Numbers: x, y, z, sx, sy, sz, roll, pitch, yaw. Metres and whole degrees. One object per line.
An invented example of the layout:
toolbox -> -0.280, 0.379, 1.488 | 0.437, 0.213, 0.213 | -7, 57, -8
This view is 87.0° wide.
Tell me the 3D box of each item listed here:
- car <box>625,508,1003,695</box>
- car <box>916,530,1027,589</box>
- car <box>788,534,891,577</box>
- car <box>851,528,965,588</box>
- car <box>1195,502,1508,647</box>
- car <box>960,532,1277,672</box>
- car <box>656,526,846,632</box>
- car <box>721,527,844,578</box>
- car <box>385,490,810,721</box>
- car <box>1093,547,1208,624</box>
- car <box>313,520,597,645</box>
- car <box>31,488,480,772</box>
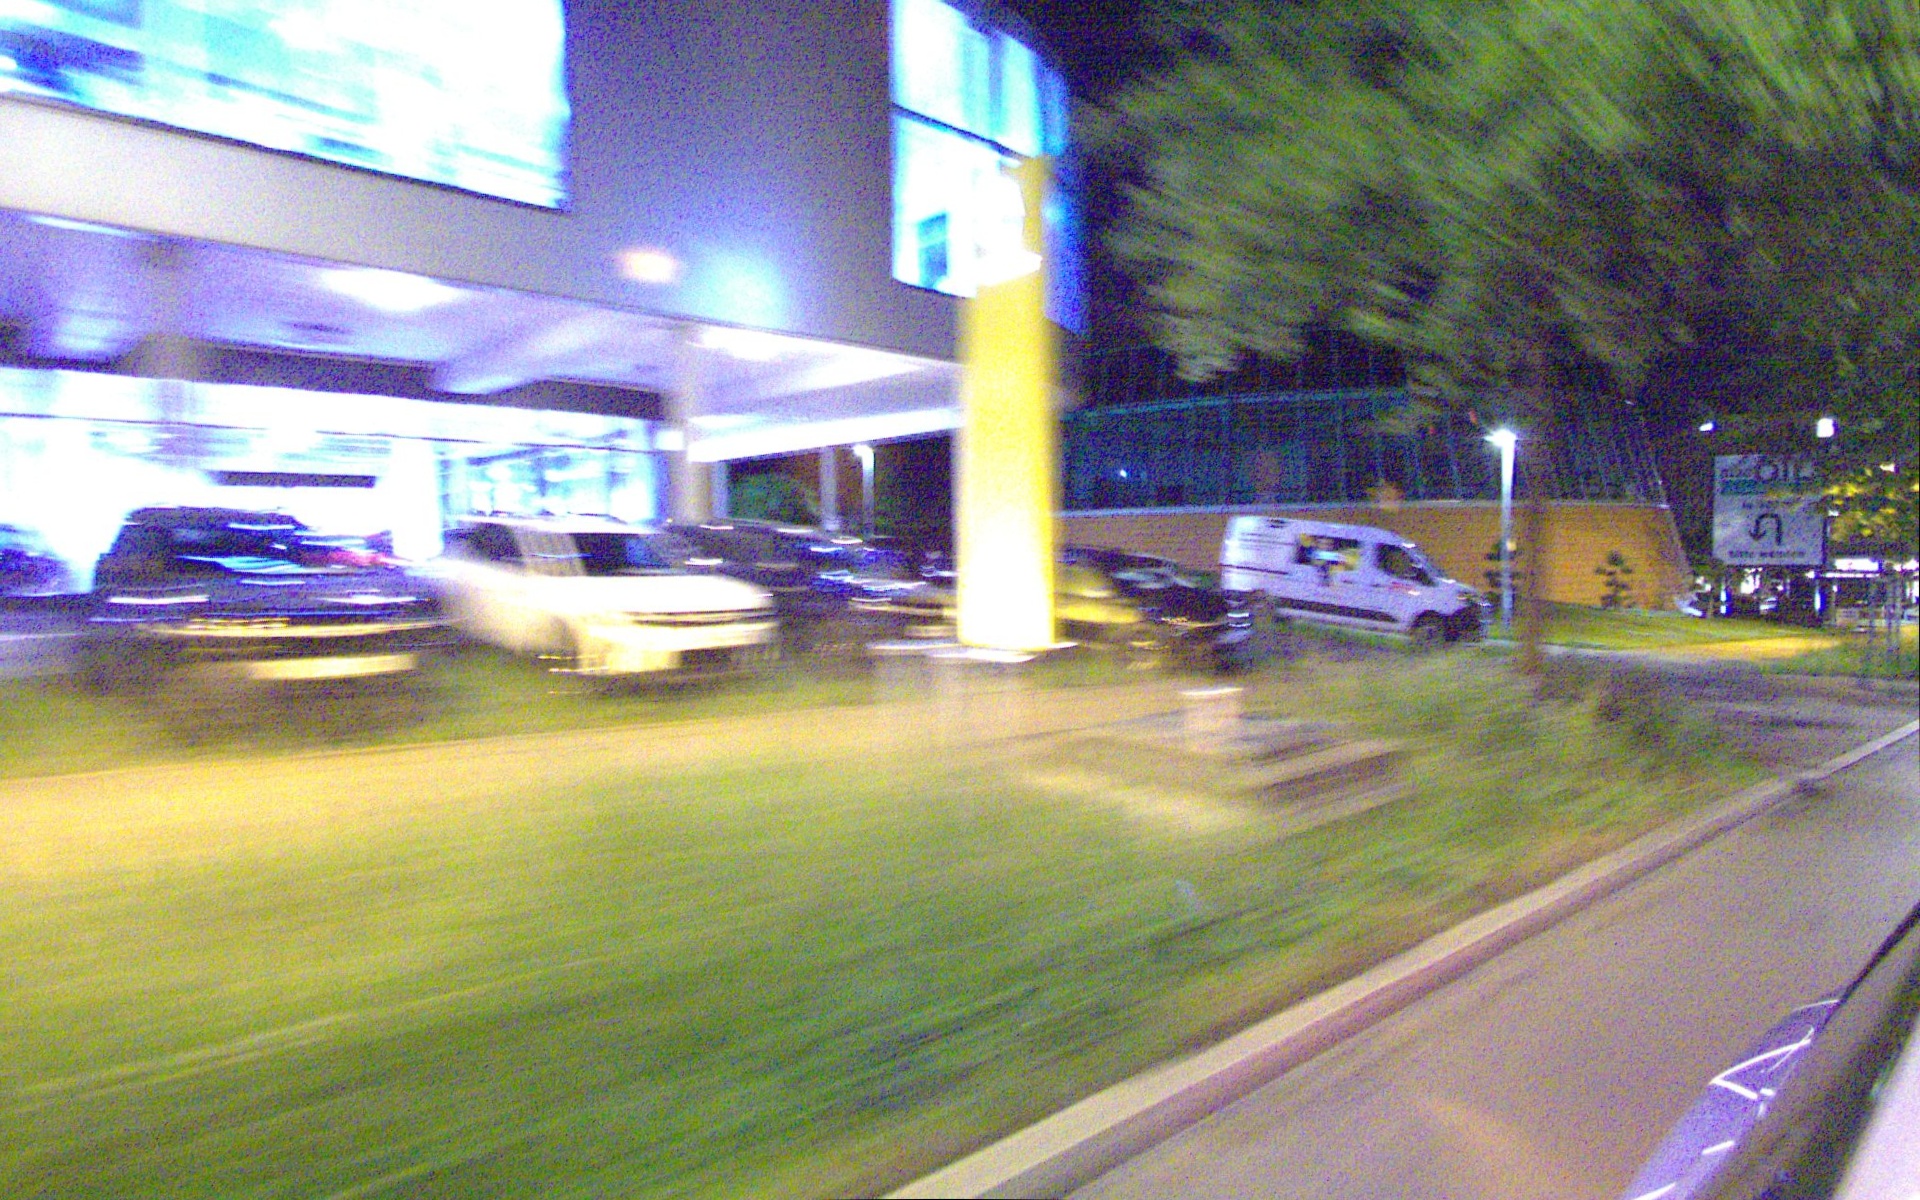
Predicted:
car -> -1.876, -0.120, 12.153 | 4.454, 1.832, 1.972 | 4, 3, 39
car -> 0.419, -1.190, 30.332 | 1.782, 1.597, 3.932 | 3, 3, 27
car -> -4.046, -1.506, 34.445 | 1.642, 1.352, 3.844 | 3, 3, 27
car -> -1.560, -1.309, 31.609 | 1.766, 1.620, 3.932 | 6, 4, 26
car -> 8.592, -0.674, 22.494 | 5.997, 2.559, 2.257 | 7, 4, 33
car -> 2.251, -0.069, 14.983 | 4.197, 1.683, 1.934 | 5, 3, 39
car -> -3.433, -0.487, 17.486 | 1.692, 1.528, 4.436 | 3, 5, 10
car -> -6.225, -1.666, 36.133 | 1.980, 1.682, 4.626 | 0, 2, 27
car -> -3.792, -0.112, 10.187 | 4.456, 1.707, 1.972 | 7, 5, 39
car -> 4.906, -0.408, 25.696 | 1.794, 1.732, 3.932 | 4, 3, 27
car -> -6.583, -0.295, 13.614 | 1.613, 1.439, 3.492 | 1, 3, 12
car -> -5.661, 0.032, 7.941 | 4.076, 1.587, 1.829 | 7, 4, 39
